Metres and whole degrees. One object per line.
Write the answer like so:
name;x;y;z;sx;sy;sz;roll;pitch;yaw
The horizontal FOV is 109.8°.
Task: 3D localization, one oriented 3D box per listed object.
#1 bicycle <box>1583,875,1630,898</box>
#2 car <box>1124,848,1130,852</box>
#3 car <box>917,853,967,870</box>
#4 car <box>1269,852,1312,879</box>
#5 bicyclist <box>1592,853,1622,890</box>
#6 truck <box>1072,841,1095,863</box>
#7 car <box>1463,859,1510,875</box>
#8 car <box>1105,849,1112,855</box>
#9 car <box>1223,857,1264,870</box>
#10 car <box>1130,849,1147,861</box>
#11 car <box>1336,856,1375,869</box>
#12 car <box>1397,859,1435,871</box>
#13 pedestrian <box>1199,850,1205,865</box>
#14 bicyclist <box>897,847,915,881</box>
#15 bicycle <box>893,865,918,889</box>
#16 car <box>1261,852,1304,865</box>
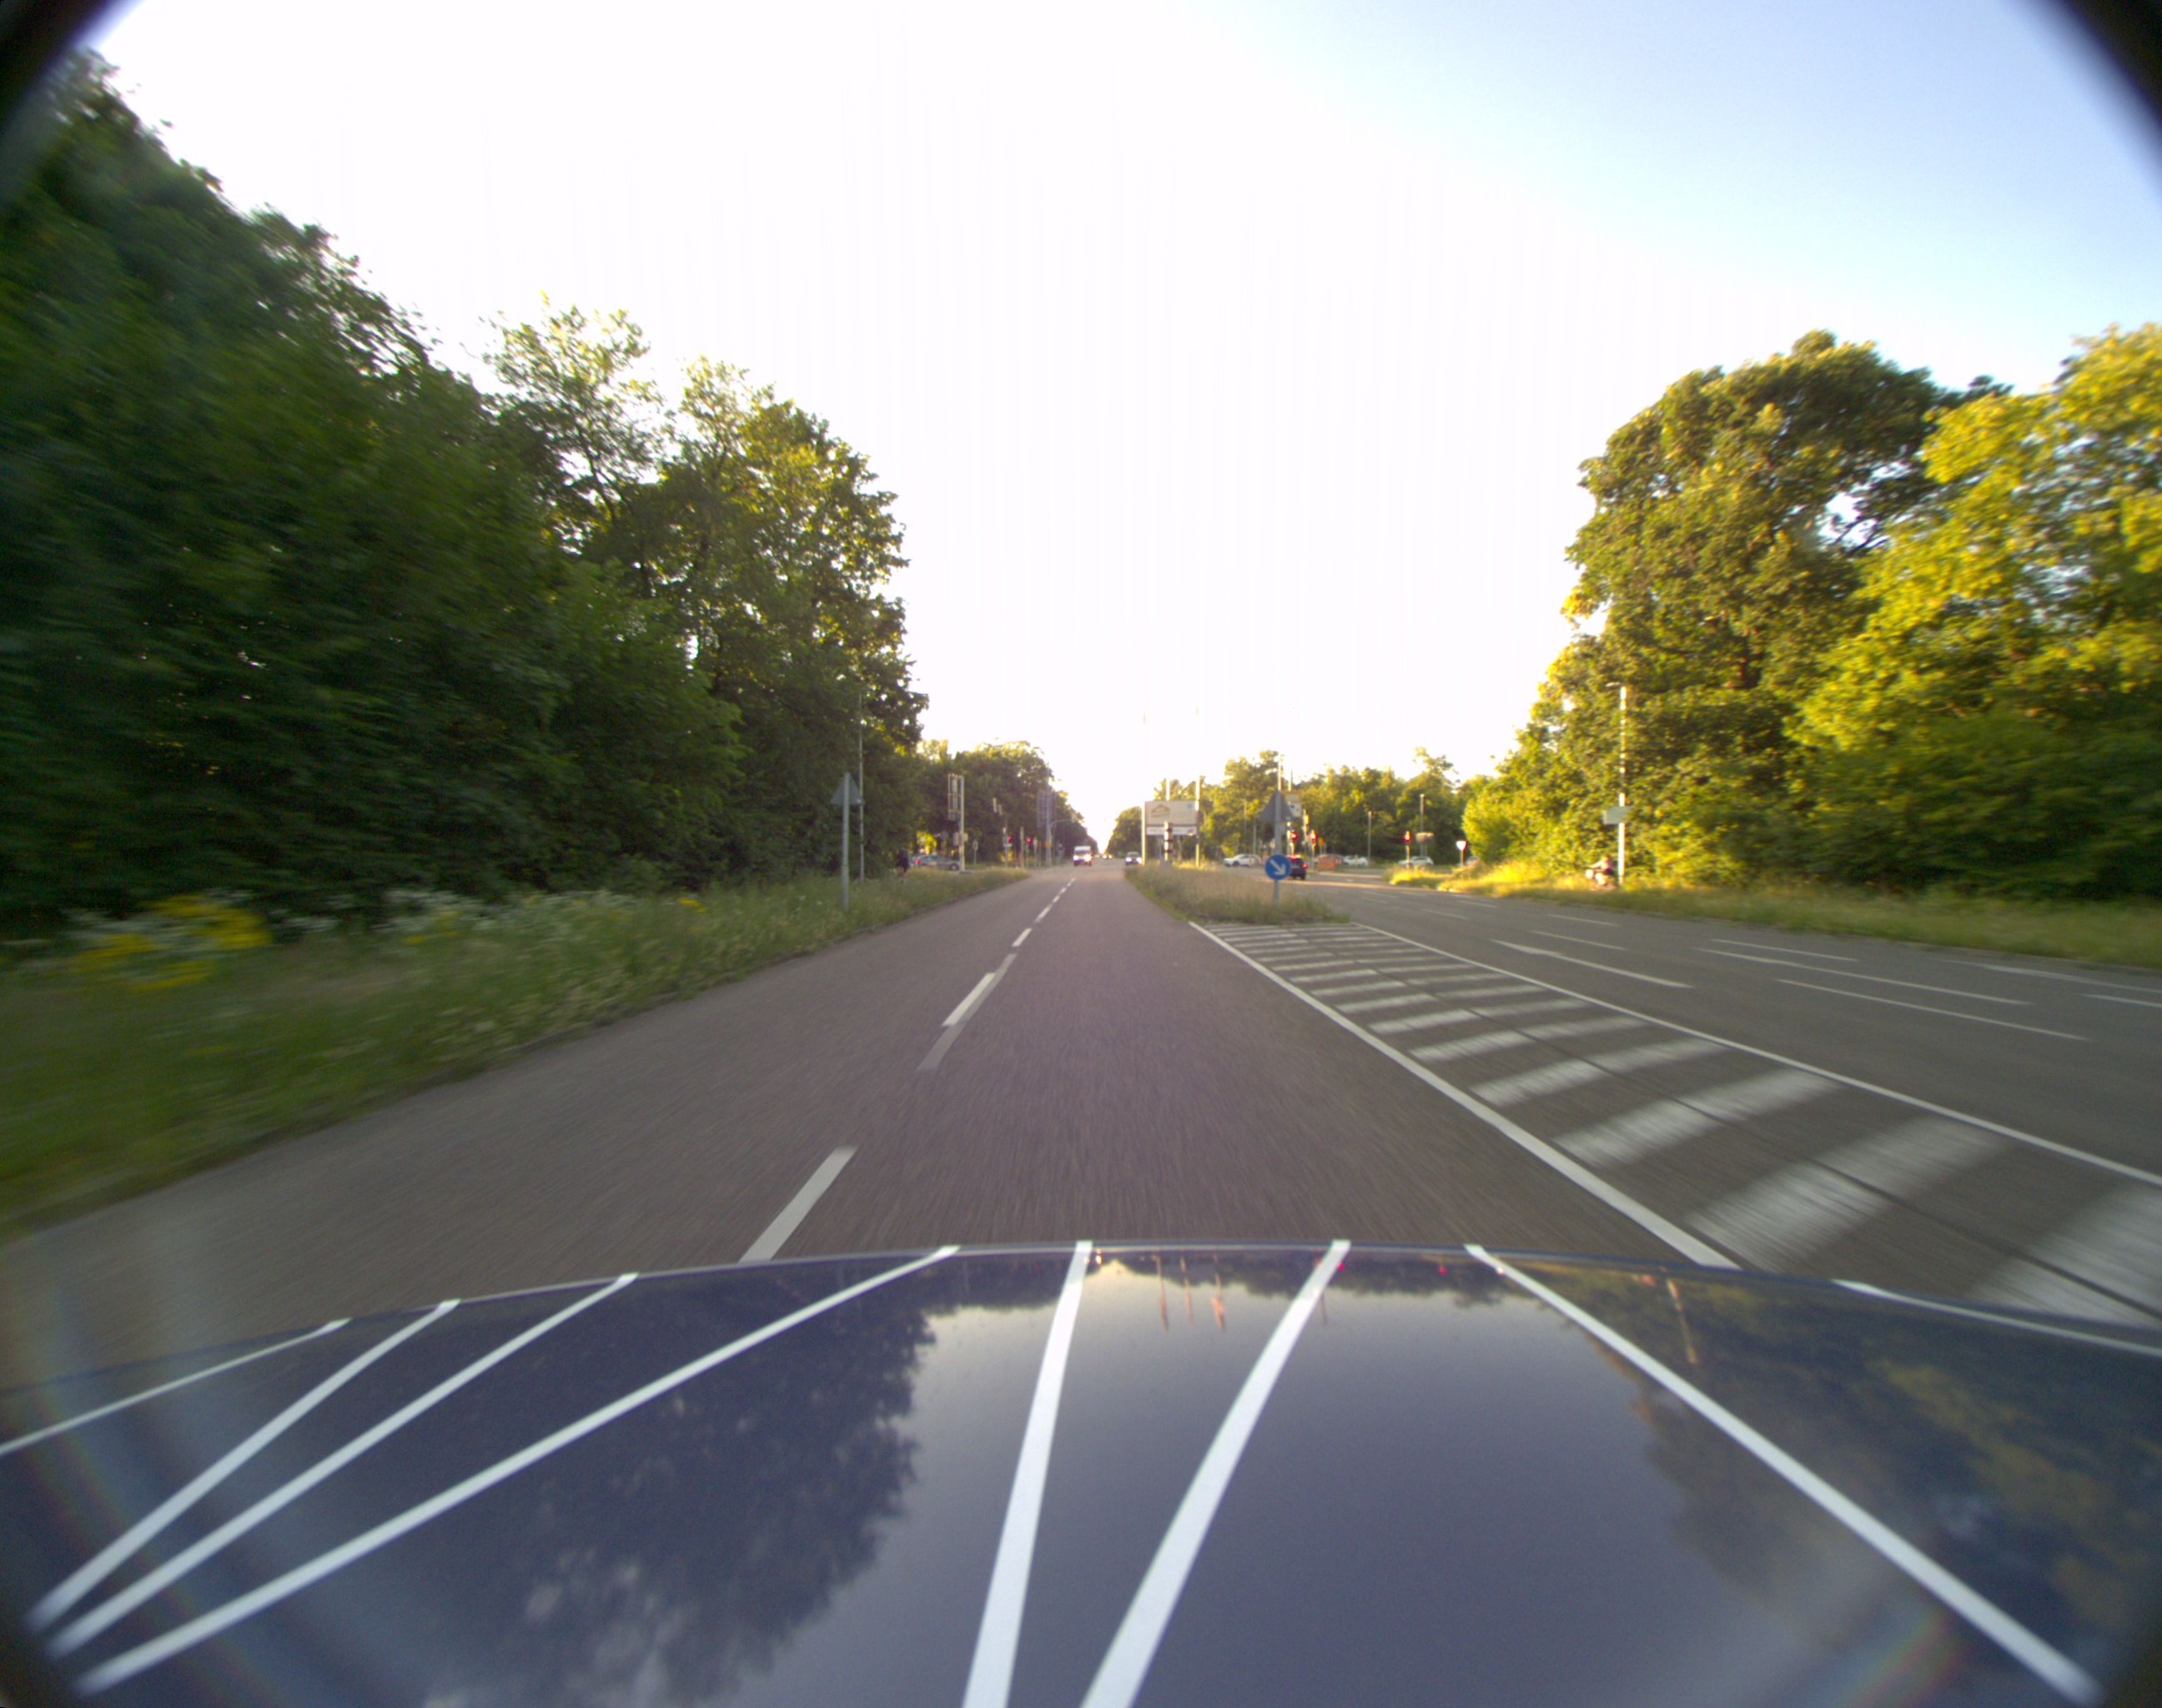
bicycle;20.512;1.242;29.709;0.587;0.800;1.959;0;0;3
car;15.057;-1.258;250.397;1.663;1.320;4.045;0;2;0
car;-12.343;0.634;67.573;4.080;1.397;1.868;0;2;-22
car;13.084;0.689;47.654;1.823;1.525;4.457;2;1;6
bicyclist;20.453;0.669;29.550;0.587;1.421;0.822;0;1;3
truck;0.368;-0.245;94.255;2.603;2.542;6.024;-2;0;2
car;44.473;1.441;83.371;4.400;1.615;1.996;-1;2;-17
car;8.038;-0.459;220.412;1.846;1.587;4.207;0;2;1
car;18.773;1.051;87.765;4.235;1.447;1.719;0;1;-15
car;7.276;0.126;95.995;2.001;1.511;4.000;0;1;2
car;33.349;1.030;92.245;4.235;1.447;1.719;0;1;-15
car;43.714;1.458;99.231;4.232;1.447;1.721;0;0;-6
pedestrian;14.871;0.452;93.452;0.749;1.790;0.576;1;1;7
bicyclist;-7.675;0.440;33.317;0.604;1.447;0.780;0;1;2
bicycle;-7.670;0.987;33.268;0.612;0.990;1.691;0;1;2
car;21.548;0.469;81.297;4.235;1.447;1.719;0;1;-15
